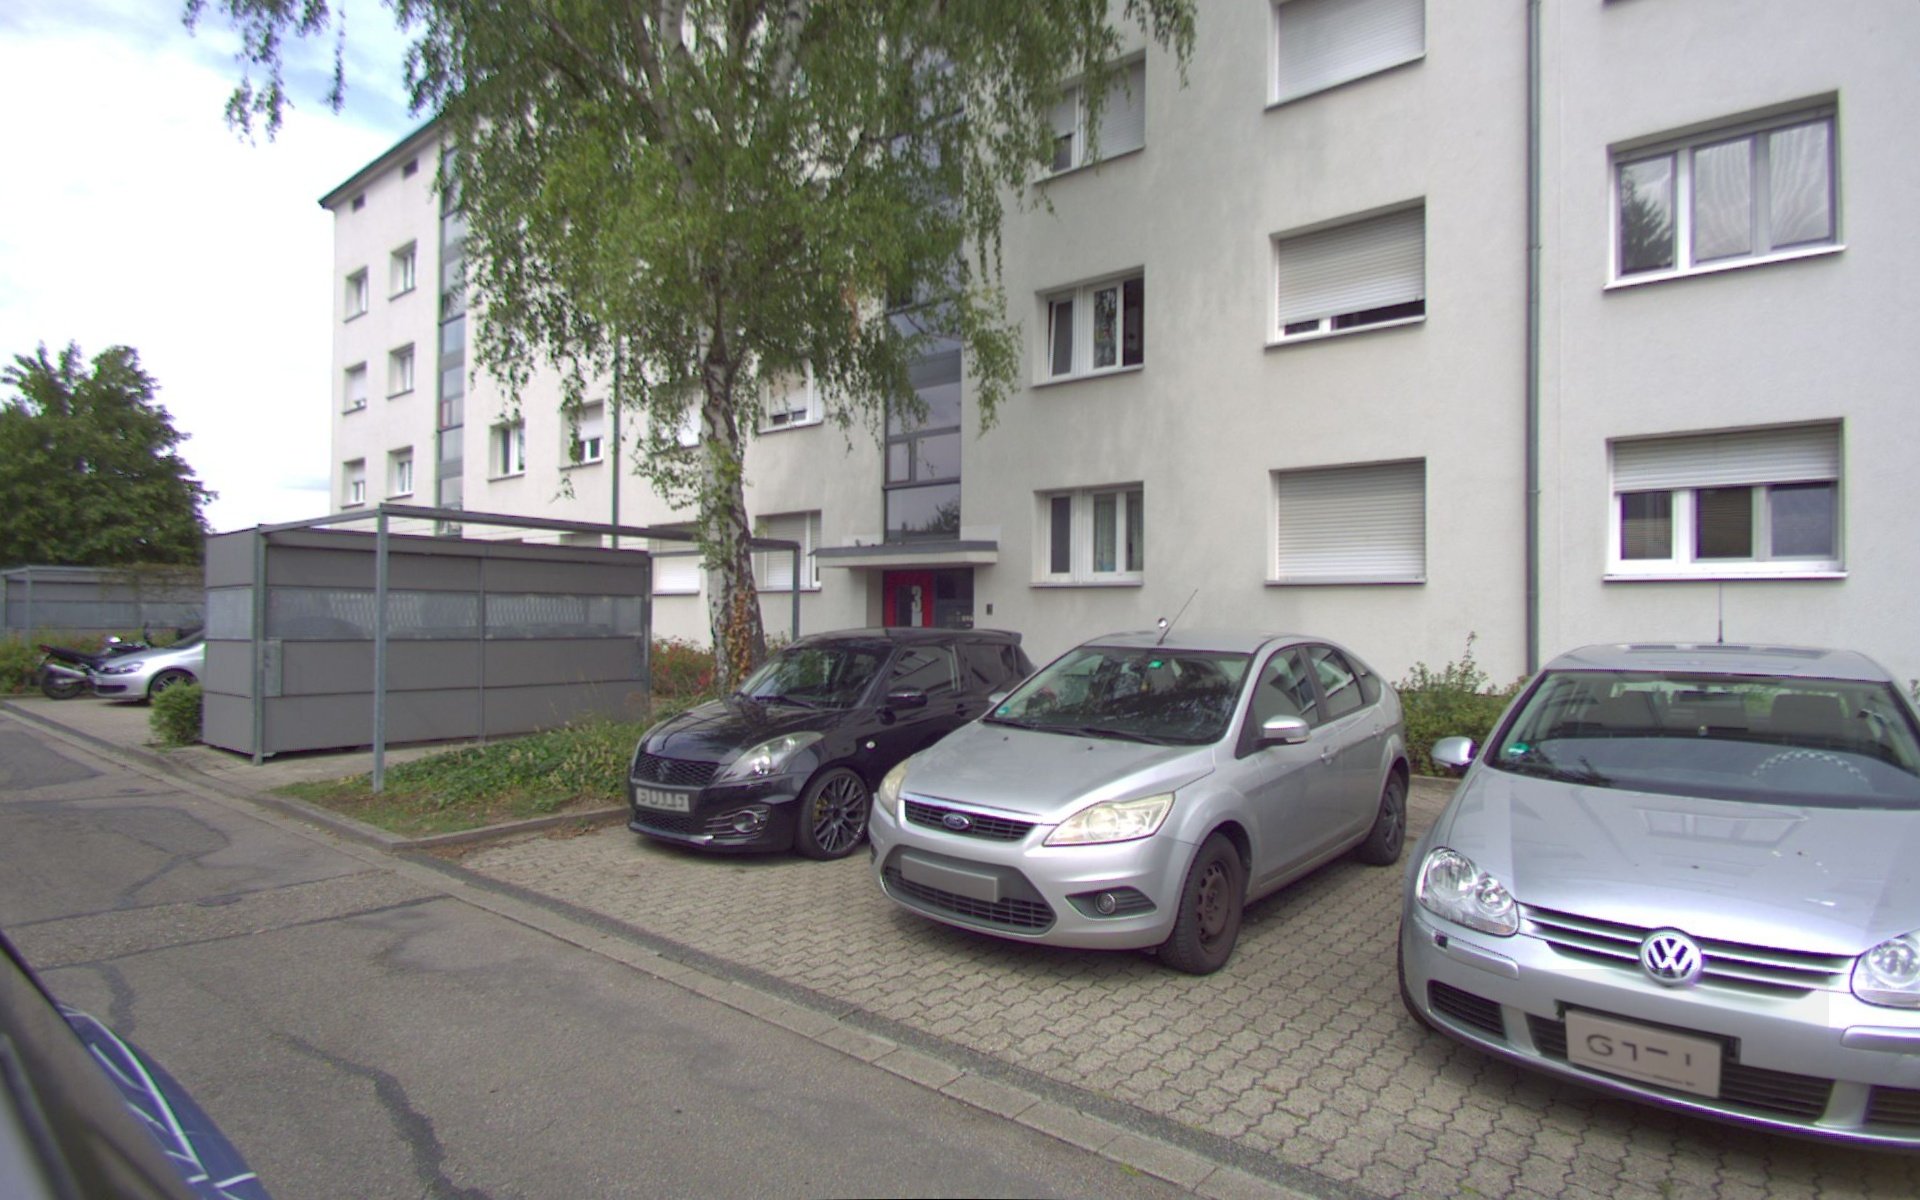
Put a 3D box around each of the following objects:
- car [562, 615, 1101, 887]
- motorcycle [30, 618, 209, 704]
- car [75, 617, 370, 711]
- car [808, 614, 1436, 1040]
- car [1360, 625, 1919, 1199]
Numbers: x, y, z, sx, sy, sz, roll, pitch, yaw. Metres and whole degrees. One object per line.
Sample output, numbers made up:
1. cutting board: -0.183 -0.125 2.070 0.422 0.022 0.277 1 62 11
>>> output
1. car: -0.719 0.926 7.816 1.780 1.516 4.011 -1 -2 39
2. motorcycle: -15.288 1.115 18.475 0.713 1.475 2.353 -1 -4 39
3. car: -13.241 1.146 18.342 1.901 1.497 3.945 -1 -4 41
4. car: 1.237 0.890 5.769 1.780 1.516 4.011 -1 -2 39
5. car: 3.192 0.878 4.156 1.780 1.475 4.011 -1 -2 39
